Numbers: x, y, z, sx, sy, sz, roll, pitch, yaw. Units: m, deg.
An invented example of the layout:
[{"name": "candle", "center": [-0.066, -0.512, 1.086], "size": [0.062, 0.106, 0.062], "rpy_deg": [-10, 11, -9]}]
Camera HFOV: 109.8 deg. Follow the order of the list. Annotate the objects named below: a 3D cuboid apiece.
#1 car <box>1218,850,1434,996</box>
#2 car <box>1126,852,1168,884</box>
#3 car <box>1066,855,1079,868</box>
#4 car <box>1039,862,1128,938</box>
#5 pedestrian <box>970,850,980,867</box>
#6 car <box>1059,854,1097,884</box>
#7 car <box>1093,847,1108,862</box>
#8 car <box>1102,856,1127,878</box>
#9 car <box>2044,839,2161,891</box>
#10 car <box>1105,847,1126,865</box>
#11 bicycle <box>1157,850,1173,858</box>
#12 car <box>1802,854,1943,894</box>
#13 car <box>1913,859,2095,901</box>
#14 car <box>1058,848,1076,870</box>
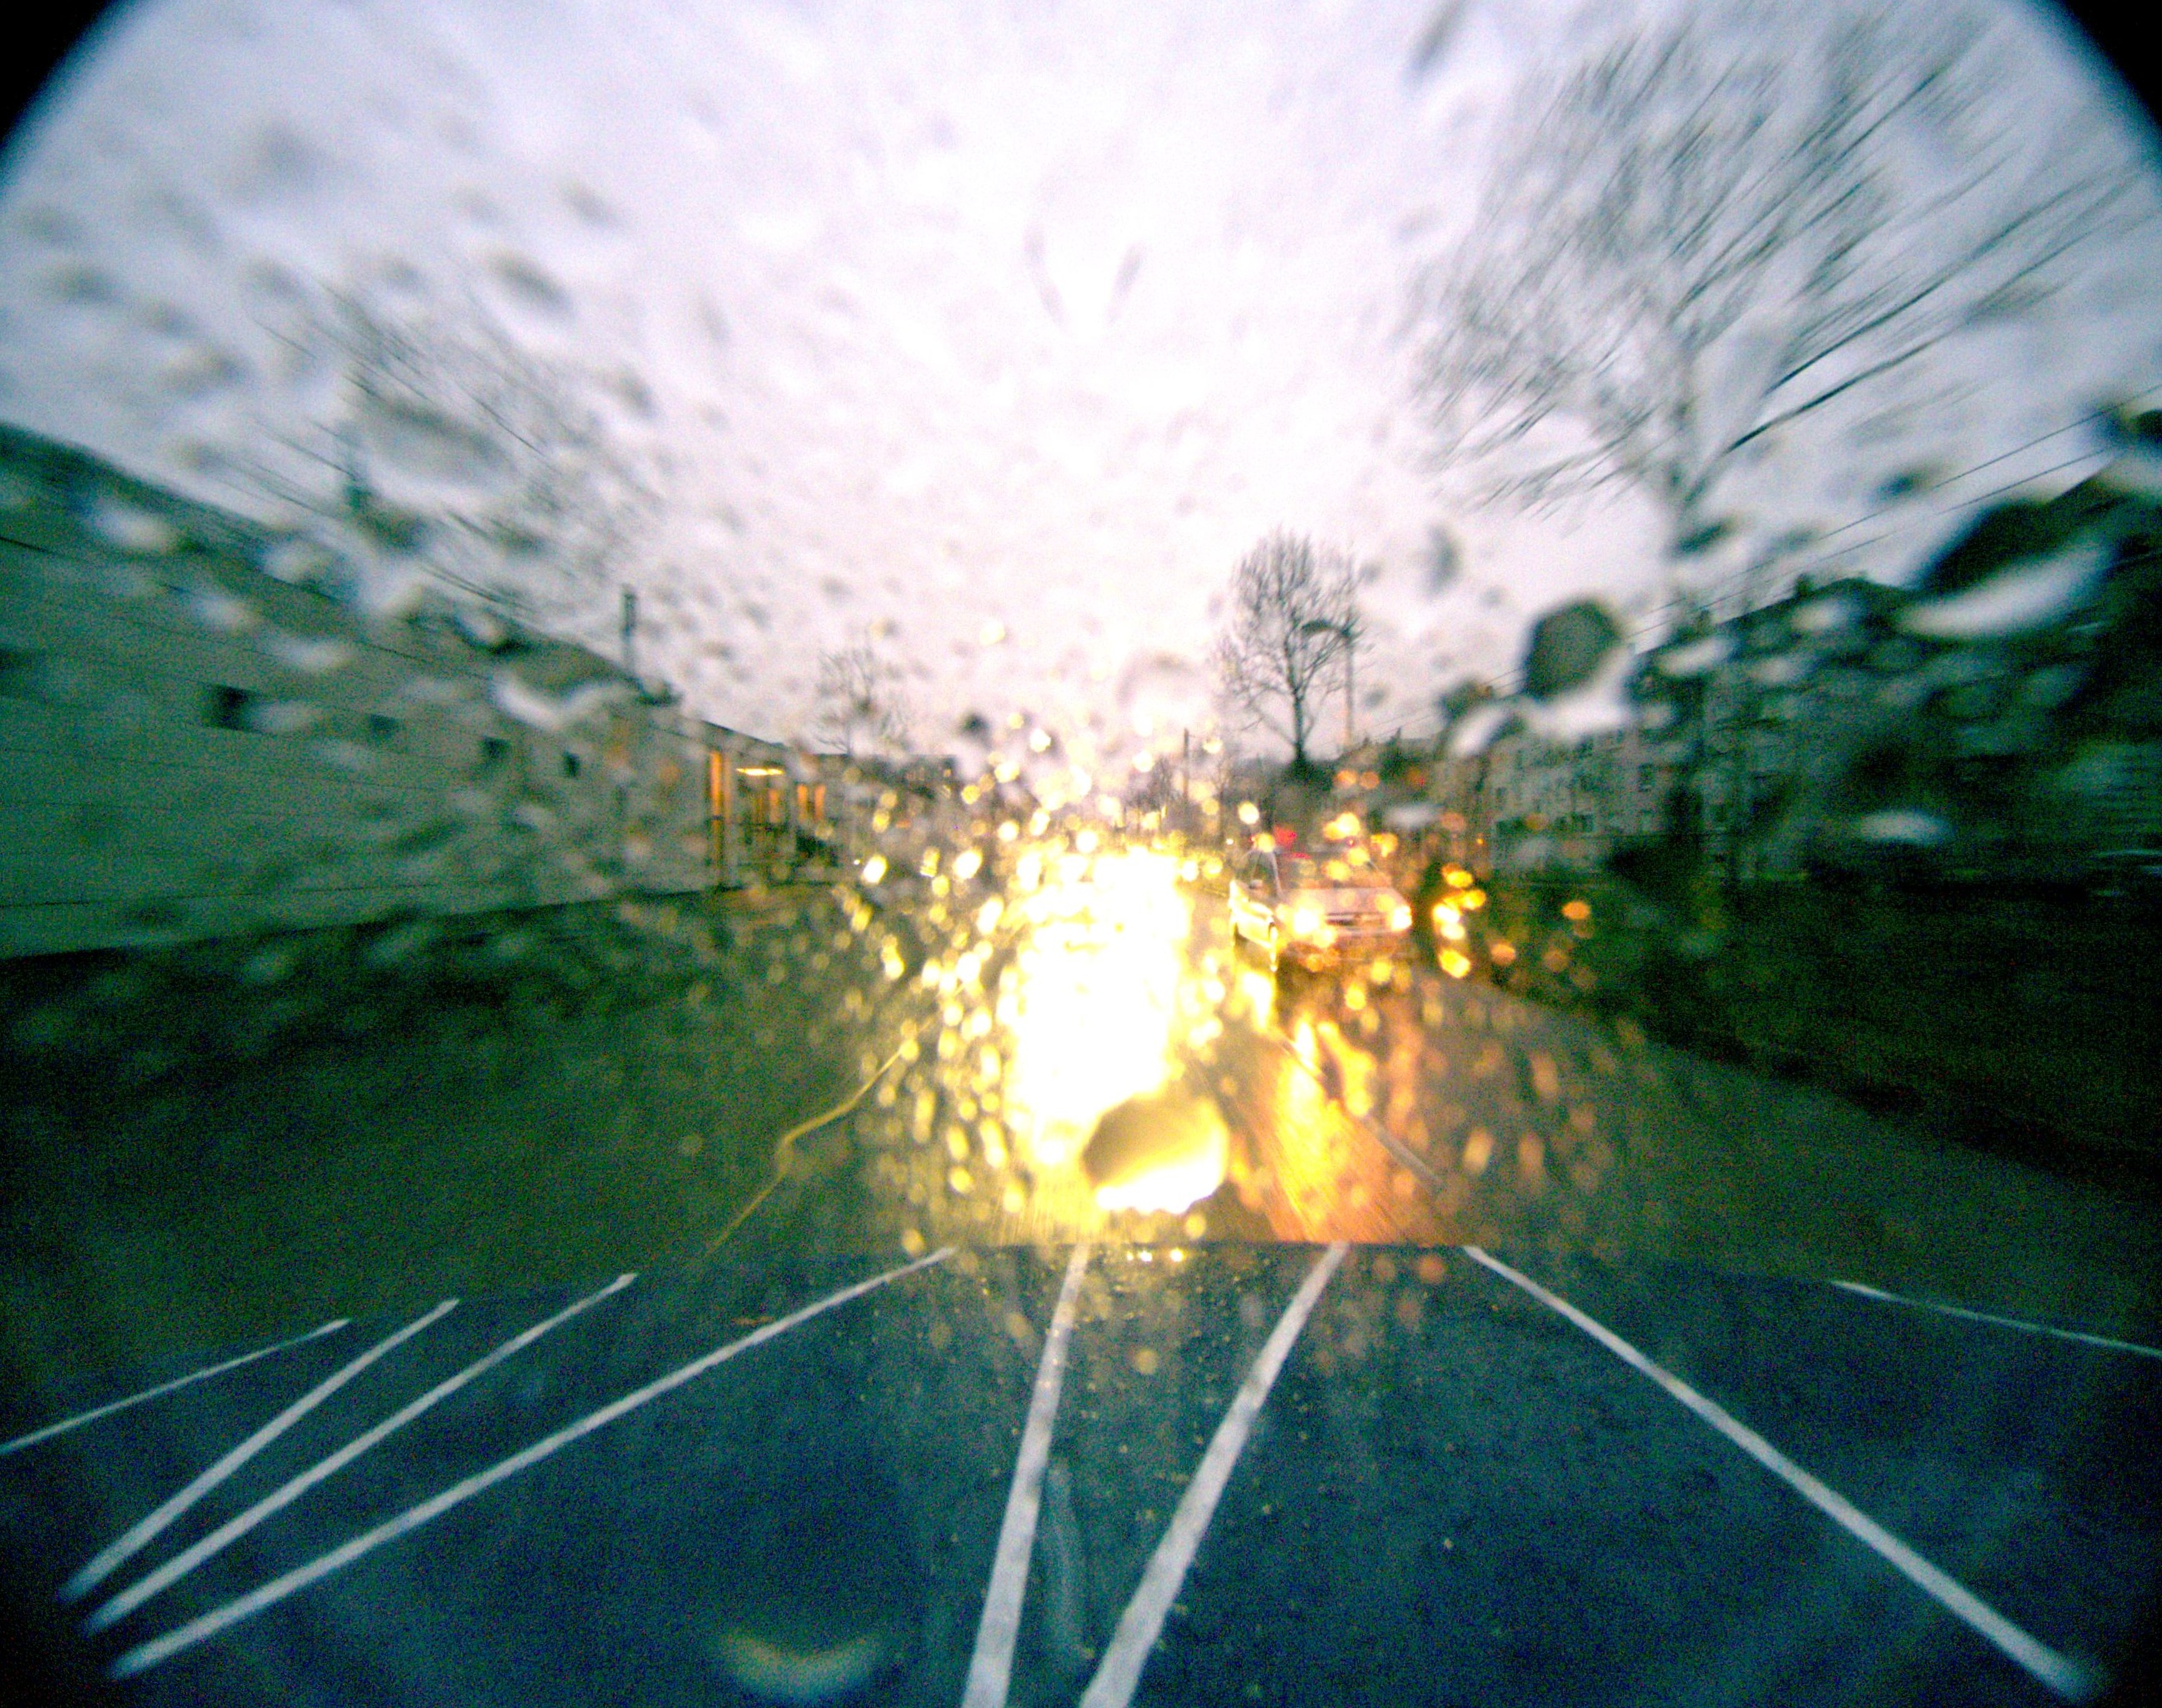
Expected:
[{"name": "car", "center": [3.028, 0.743, 10.265], "size": [1.638, 1.511, 3.907], "rpy_deg": [-2, 1, 0]}, {"name": "car", "center": [3.352, 0.664, 39.190], "size": [1.905, 1.475, 3.655], "rpy_deg": [-2, 1, 2]}, {"name": "car", "center": [-1.239, 1.091, 112.475], "size": [1.787, 1.690, 3.639], "rpy_deg": [-2, 1, 1]}, {"name": "car", "center": [0.058, 0.917, 16.591], "size": [1.669, 1.325, 3.786], "rpy_deg": [-2, 1, 0]}, {"name": "pedestrian", "center": [-10.171, 0.392, 73.223], "size": [0.814, 1.621, 0.883], "rpy_deg": [2, 1, 0]}, {"name": "car", "center": [-0.119, 0.717, 37.847], "size": [1.737, 1.311, 3.803], "rpy_deg": [-2, 1, 0]}, {"name": "car", "center": [2.347, 0.079, 91.735], "size": [1.686, 1.669, 3.467], "rpy_deg": [-2, 1, 1]}, {"name": "car", "center": [2.316, 0.889, 53.447], "size": [1.538, 1.347, 3.546], "rpy_deg": [-2, 1, 0]}, {"name": "car", "center": [34.353, 0.324, 24.668], "size": [1.684, 1.542, 3.538], "rpy_deg": [-2, 1, 1]}, {"name": "car", "center": [3.343, 0.190, 74.050], "size": [1.802, 1.674, 3.805], "rpy_deg": [-2, 1, 0]}, {"name": "bicycle", "center": [9.416, -0.006, 84.941], "size": [1.725, 0.893, 0.733], "rpy_deg": [1, 2, 1]}, {"name": "car", "center": [30.217, 0.724, 29.194], "size": [1.468, 1.332, 3.910], "rpy_deg": [-2, 1, 3]}, {"name": "car", "center": [29.847, 0.797, 24.757], "size": [1.233, 1.162, 3.900], "rpy_deg": [-2, 1, 1]}, {"name": "car", "center": [-1.384, 0.465, 75.406], "size": [1.671, 2.002, 3.774], "rpy_deg": [-2, 1, 1]}]
